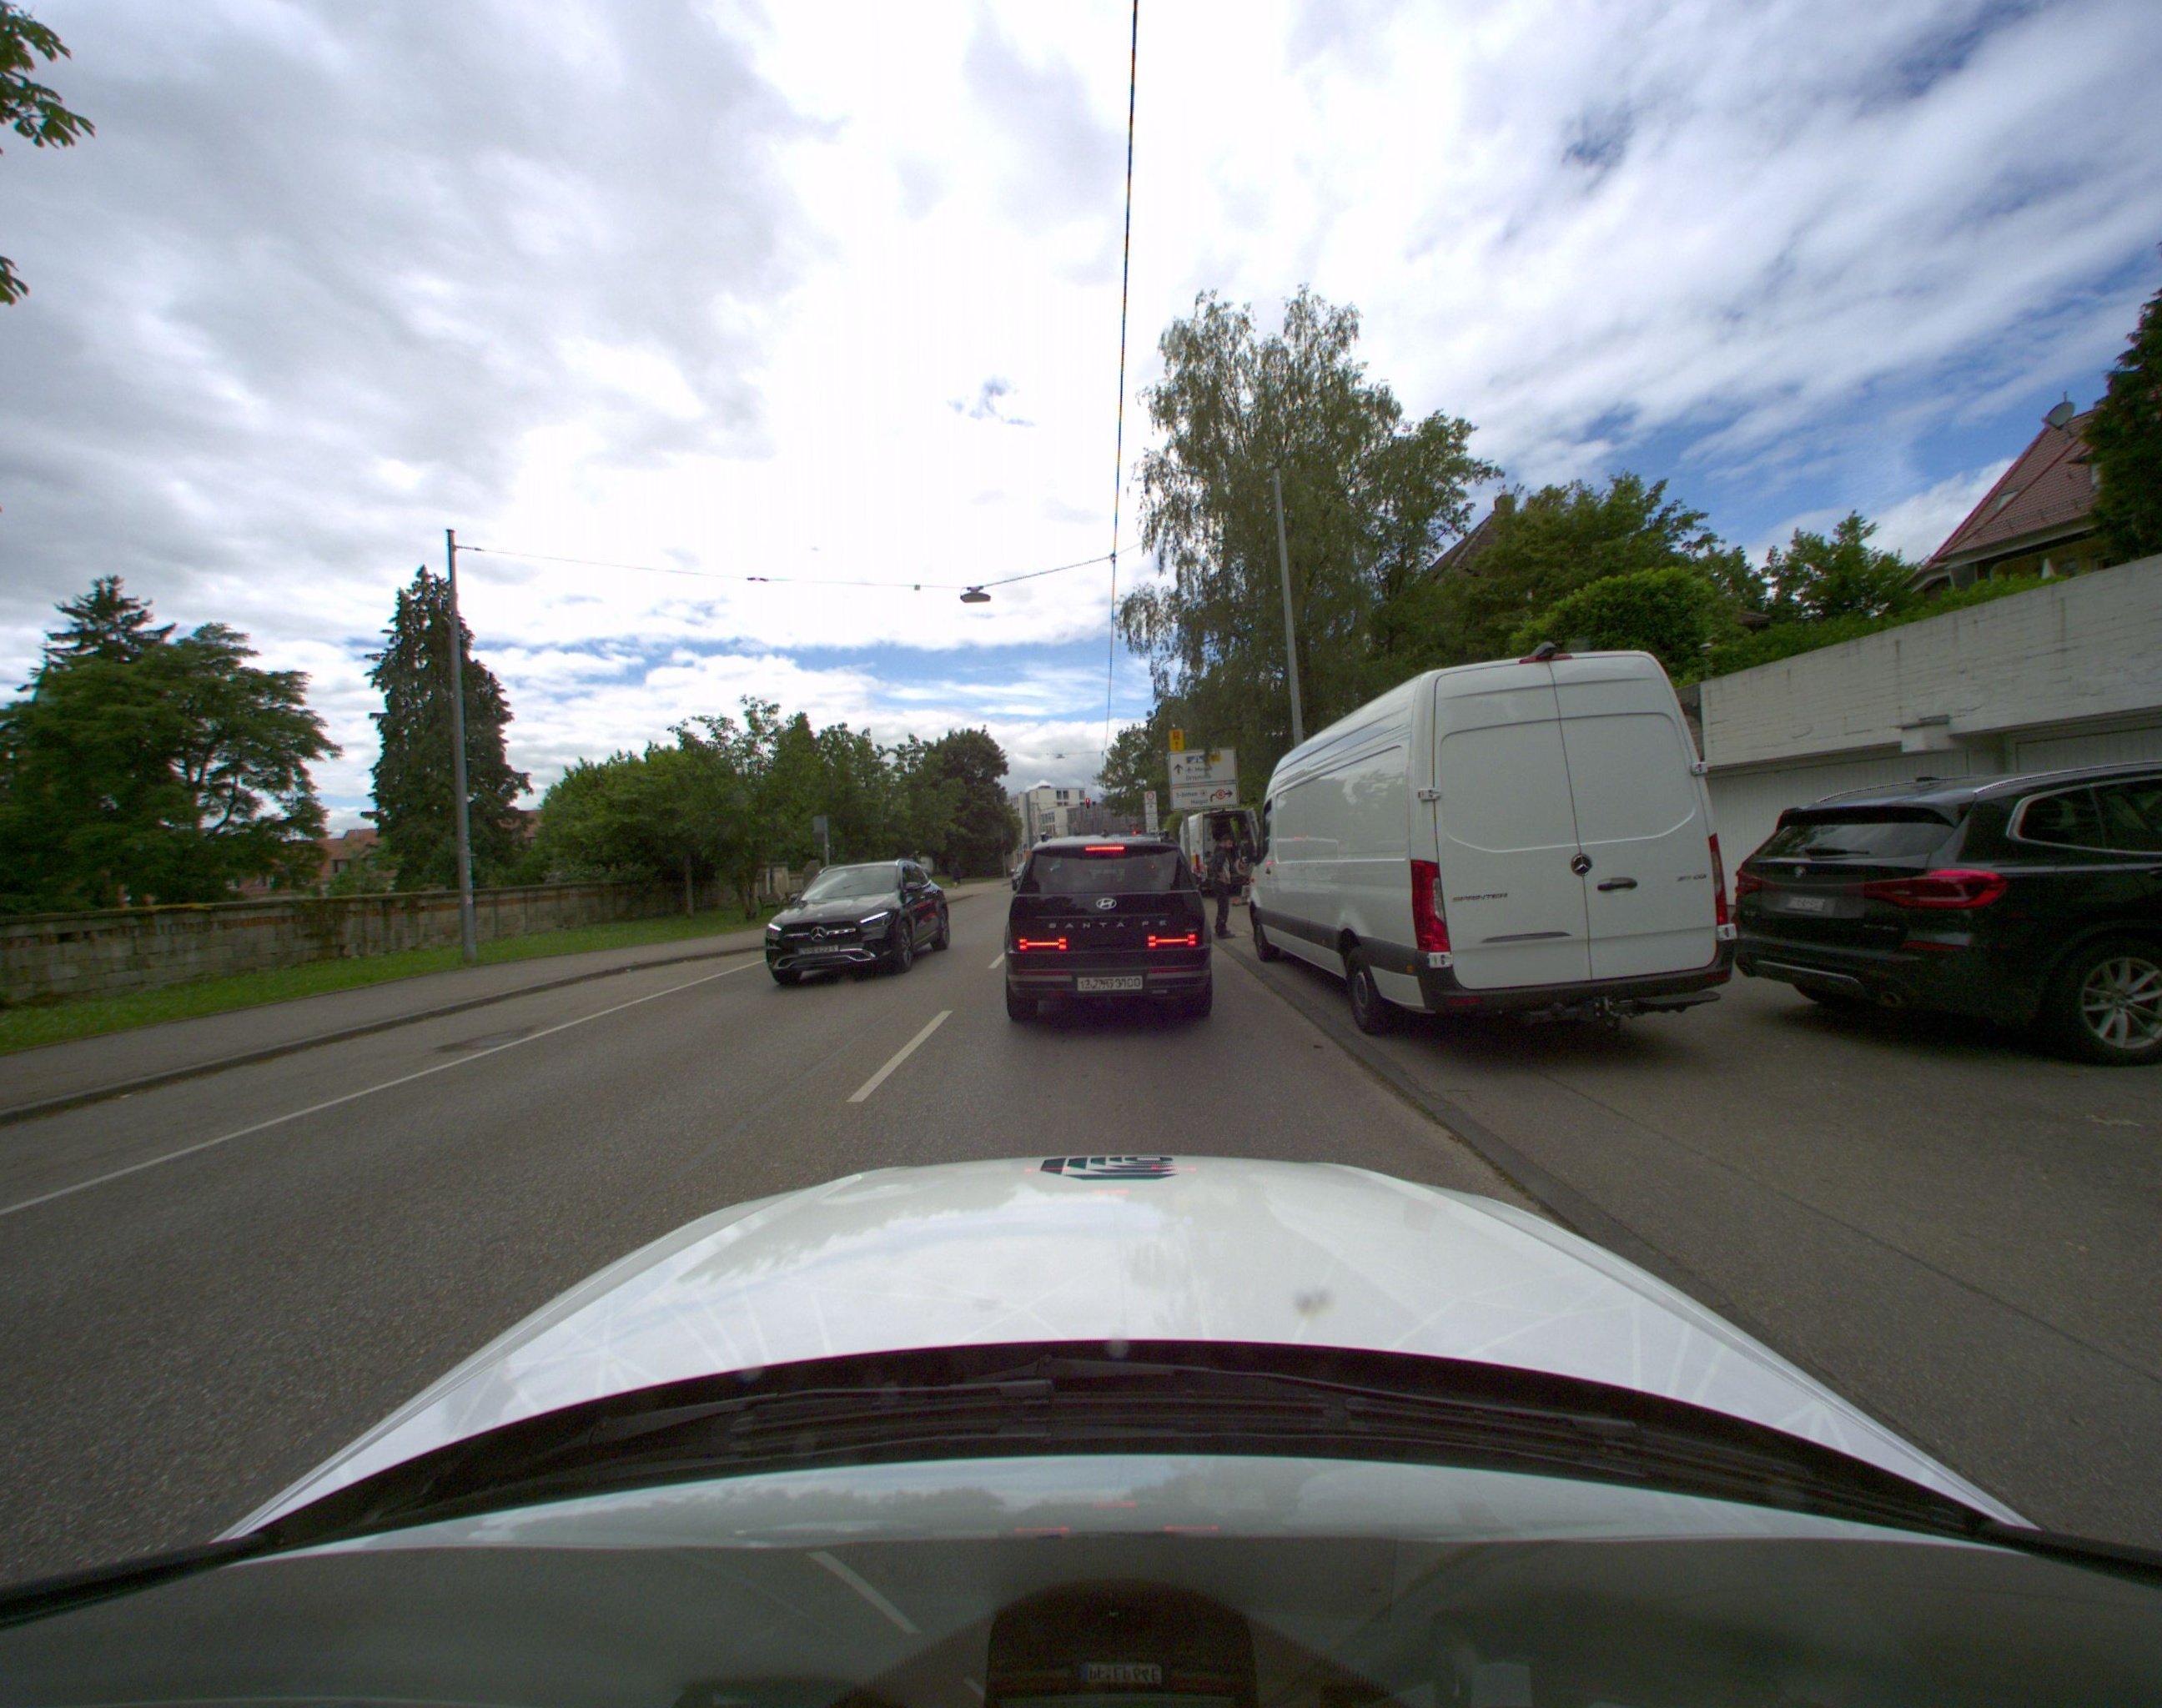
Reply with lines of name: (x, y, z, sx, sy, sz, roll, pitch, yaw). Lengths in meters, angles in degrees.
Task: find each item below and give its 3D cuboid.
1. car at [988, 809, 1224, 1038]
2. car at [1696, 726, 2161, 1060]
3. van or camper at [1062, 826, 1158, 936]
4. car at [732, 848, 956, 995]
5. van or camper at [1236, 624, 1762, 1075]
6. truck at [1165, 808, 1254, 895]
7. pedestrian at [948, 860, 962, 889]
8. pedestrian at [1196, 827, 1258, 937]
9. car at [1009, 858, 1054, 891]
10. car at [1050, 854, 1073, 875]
car: (0.269, 0.571, 8.662, 1.883, 1.819, 4.002, -2, 0, 2)
car: (6.865, 0.129, 5.221, 4.398, 1.750, 1.739, -3, 0, 3)
van or camper: (0.618, 0.514, 17.605, 1.748, 2.013, 4.002, -3, 0, 2)
car: (-3.289, 0.846, 12.317, 1.852, 1.657, 4.307, -6, 0, 2)
van or camper: (3.136, -0.025, 8.191, 1.986, 2.620, 6.543, -3, 0, 2)
truck: (4.290, -0.047, 28.060, 1.937, 2.561, 5.213, -5, -1, -1)
pedestrian: (-7.797, 1.278, 50.357, 0.737, 1.715, 0.791, -3, 0, -5)
pedestrian: (2.495, 0.464, 14.001, 0.867, 1.797, 0.760, -3, 0, 1)
car: (-2.539, 1.006, 42.453, 1.852, 1.453, 4.112, -6, 0, 2)
car: (-1.633, 0.873, 69.117, 1.779, 1.654, 4.120, -4, 0, 0)
